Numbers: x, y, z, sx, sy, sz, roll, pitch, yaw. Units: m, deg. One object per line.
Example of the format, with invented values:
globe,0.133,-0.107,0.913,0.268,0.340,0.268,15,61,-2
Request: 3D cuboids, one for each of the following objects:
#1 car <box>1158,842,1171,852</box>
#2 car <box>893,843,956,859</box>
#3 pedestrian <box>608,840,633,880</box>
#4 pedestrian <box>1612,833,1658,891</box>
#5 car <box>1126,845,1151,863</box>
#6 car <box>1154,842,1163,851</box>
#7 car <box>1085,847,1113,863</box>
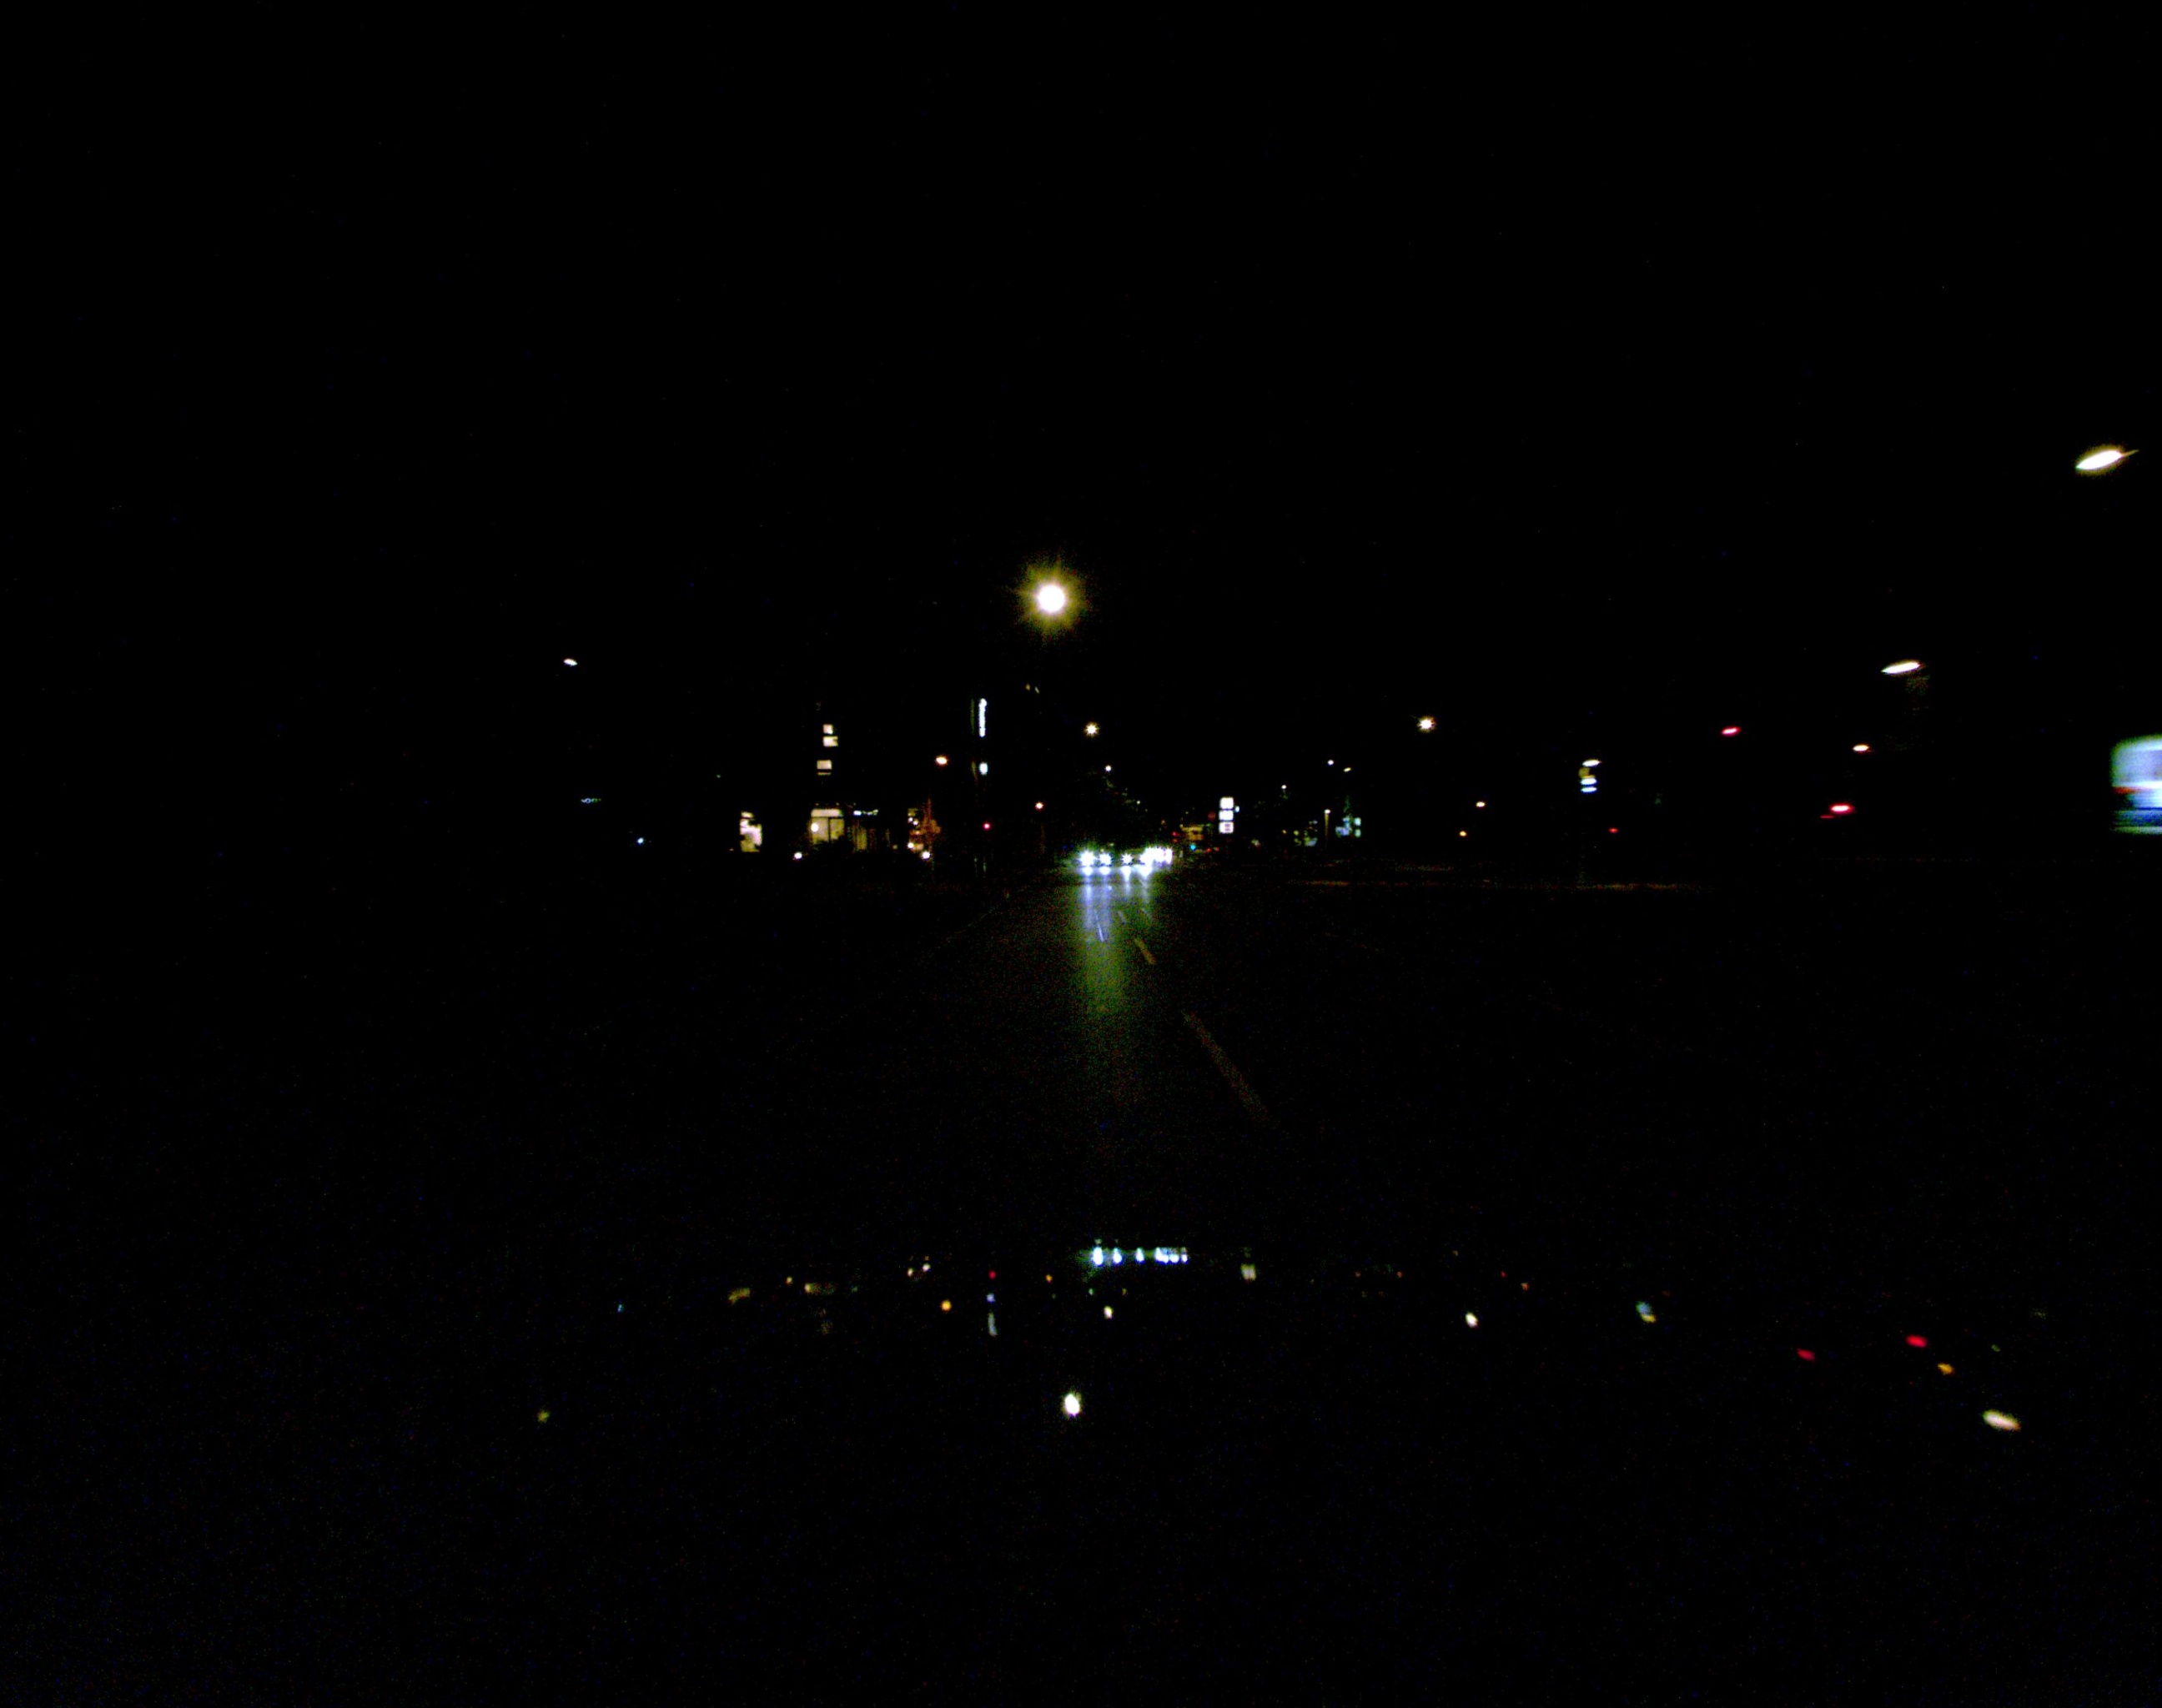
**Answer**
car,13.799,-1.234,126.071,1.907,1.609,3.719,-1,1,3
car,-10.612,-0.163,51.650,4.008,1.028,1.480,0,0,-39
pedestrian,-21.584,0.279,35.647,0.664,1.866,0.731,-2,1,-1
pedestrian,16.626,0.232,22.800,1.053,1.678,0.822,1,1,37
car,4.872,-0.018,63.893,1.858,1.482,3.561,-1,0,8
car,16.633,-1.605,163.294,1.827,1.696,4.001,-1,1,6
car,1.547,0.077,65.261,1.947,1.299,3.907,1,1,8
